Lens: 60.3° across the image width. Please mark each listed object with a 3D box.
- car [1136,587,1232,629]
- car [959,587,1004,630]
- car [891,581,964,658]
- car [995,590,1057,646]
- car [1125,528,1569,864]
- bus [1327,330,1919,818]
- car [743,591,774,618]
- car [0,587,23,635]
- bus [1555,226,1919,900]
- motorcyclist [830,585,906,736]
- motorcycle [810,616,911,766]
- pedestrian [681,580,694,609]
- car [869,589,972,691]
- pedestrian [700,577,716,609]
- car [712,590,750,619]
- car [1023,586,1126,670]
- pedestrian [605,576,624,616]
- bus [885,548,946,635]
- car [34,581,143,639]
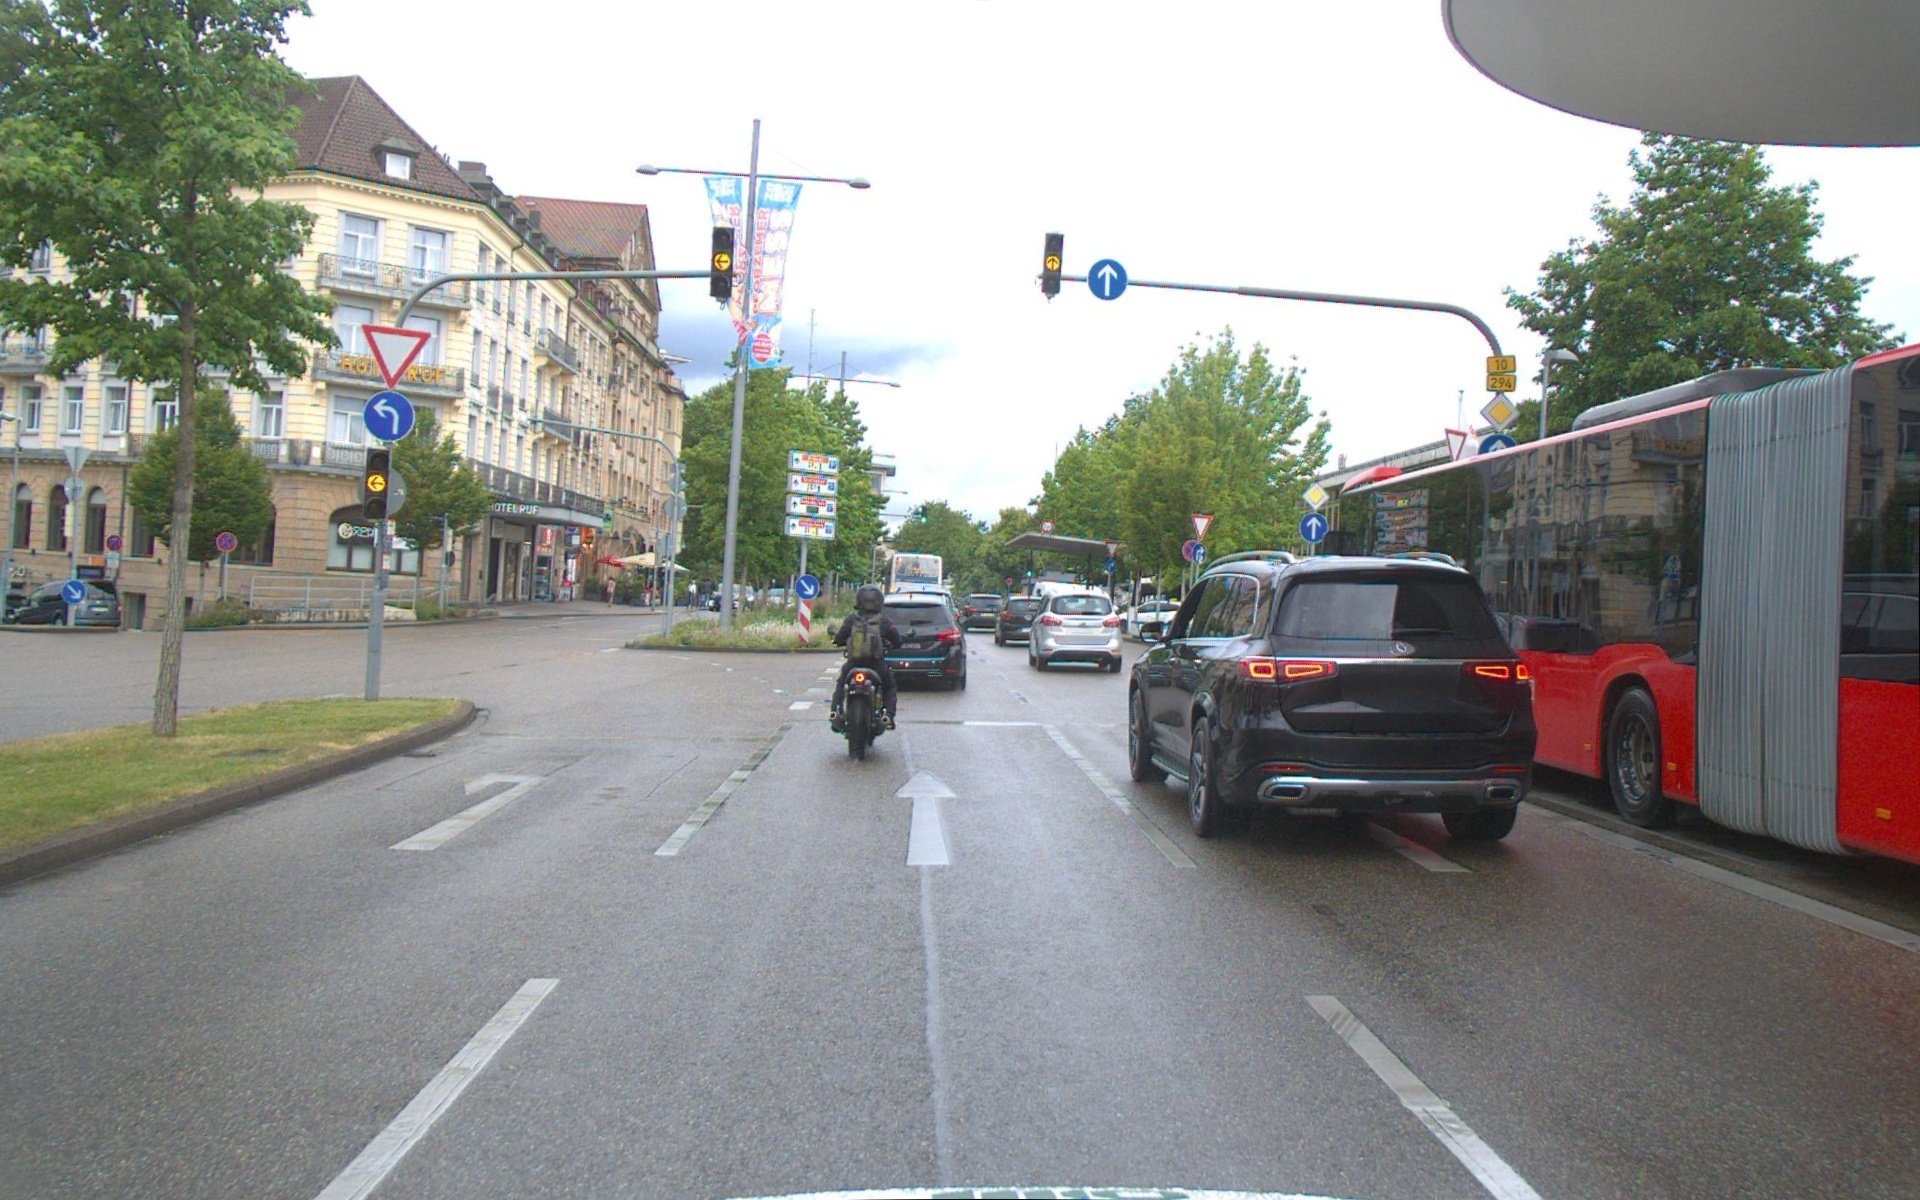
[{"bbox_3d":[8.875,0.297,65.804,1.566,1.594,3.740,0,0,-40],"label":"car"},{"bbox_3d":[0.802,0.300,62.872,1.544,1.594,3.794,0,0,-2],"label":"car"},{"bbox_3d":[-0.741,0.402,36.633,1.544,1.594,3.869,0,0,-2],"label":"car"},{"bbox_3d":[1.918,0.506,48.723,1.544,1.594,3.869,0,0,-2],"label":"car"},{"bbox_3d":[2.456,0.537,11.878,1.918,1.909,4.872,0,0,-2],"label":"car"},{"bbox_3d":[6.238,-0.166,15.955,3.224,3.346,8.847,1,0,-1],"label":"bus"},{"bbox_3d":[-12.000,0.239,98.658,1.544,1.594,3.428,0,0,-2],"label":"car"},{"bbox_3d":[-34.032,0.380,58.333,1.641,1.632,3.219,-1,2,-31],"label":"car"},{"bbox_3d":[6.384,-0.153,7.504,3.219,3.349,10.875,1,0,-1],"label":"bus"},{"bbox_3d":[-0.863,0.558,15.589,0.628,1.371,0.689,1,0,1],"label":"motorcyclist"},{"bbox_3d":[-0.903,0.810,15.480,0.776,1.284,1.855,1,0,2],"label":"motorcycle"},{"bbox_3d":[-17.261,-0.370,104.843,0.550,1.809,0.497,1,0,33],"label":"pedestrian"},{"bbox_3d":[-0.625,0.592,26.655,1.543,1.531,3.870,0,0,-1],"label":"car"},{"bbox_3d":[-16.085,-0.438,105.541,0.716,2.000,0.819,2,0,-28],"label":"pedestrian"},{"bbox_3d":[-12.758,0.241,92.317,1.744,1.594,3.428,0,0,-2],"label":"car"},{"bbox_3d":[2.263,0.527,33.488,1.706,1.594,3.869,0,0,-2],"label":"car"},{"bbox_3d":[-17.796,-0.204,85.103,0.716,2.049,0.819,2,0,-28],"label":"pedestrian"},{"bbox_3d":[-2.352,-0.386,84.917,2.781,4.057,11.857,2,0,-2],"label":"bus"},{"bbox_3d":[-29.037,0.321,55.067,2.103,1.807,4.321,2,0,-44],"label":"car"}]
